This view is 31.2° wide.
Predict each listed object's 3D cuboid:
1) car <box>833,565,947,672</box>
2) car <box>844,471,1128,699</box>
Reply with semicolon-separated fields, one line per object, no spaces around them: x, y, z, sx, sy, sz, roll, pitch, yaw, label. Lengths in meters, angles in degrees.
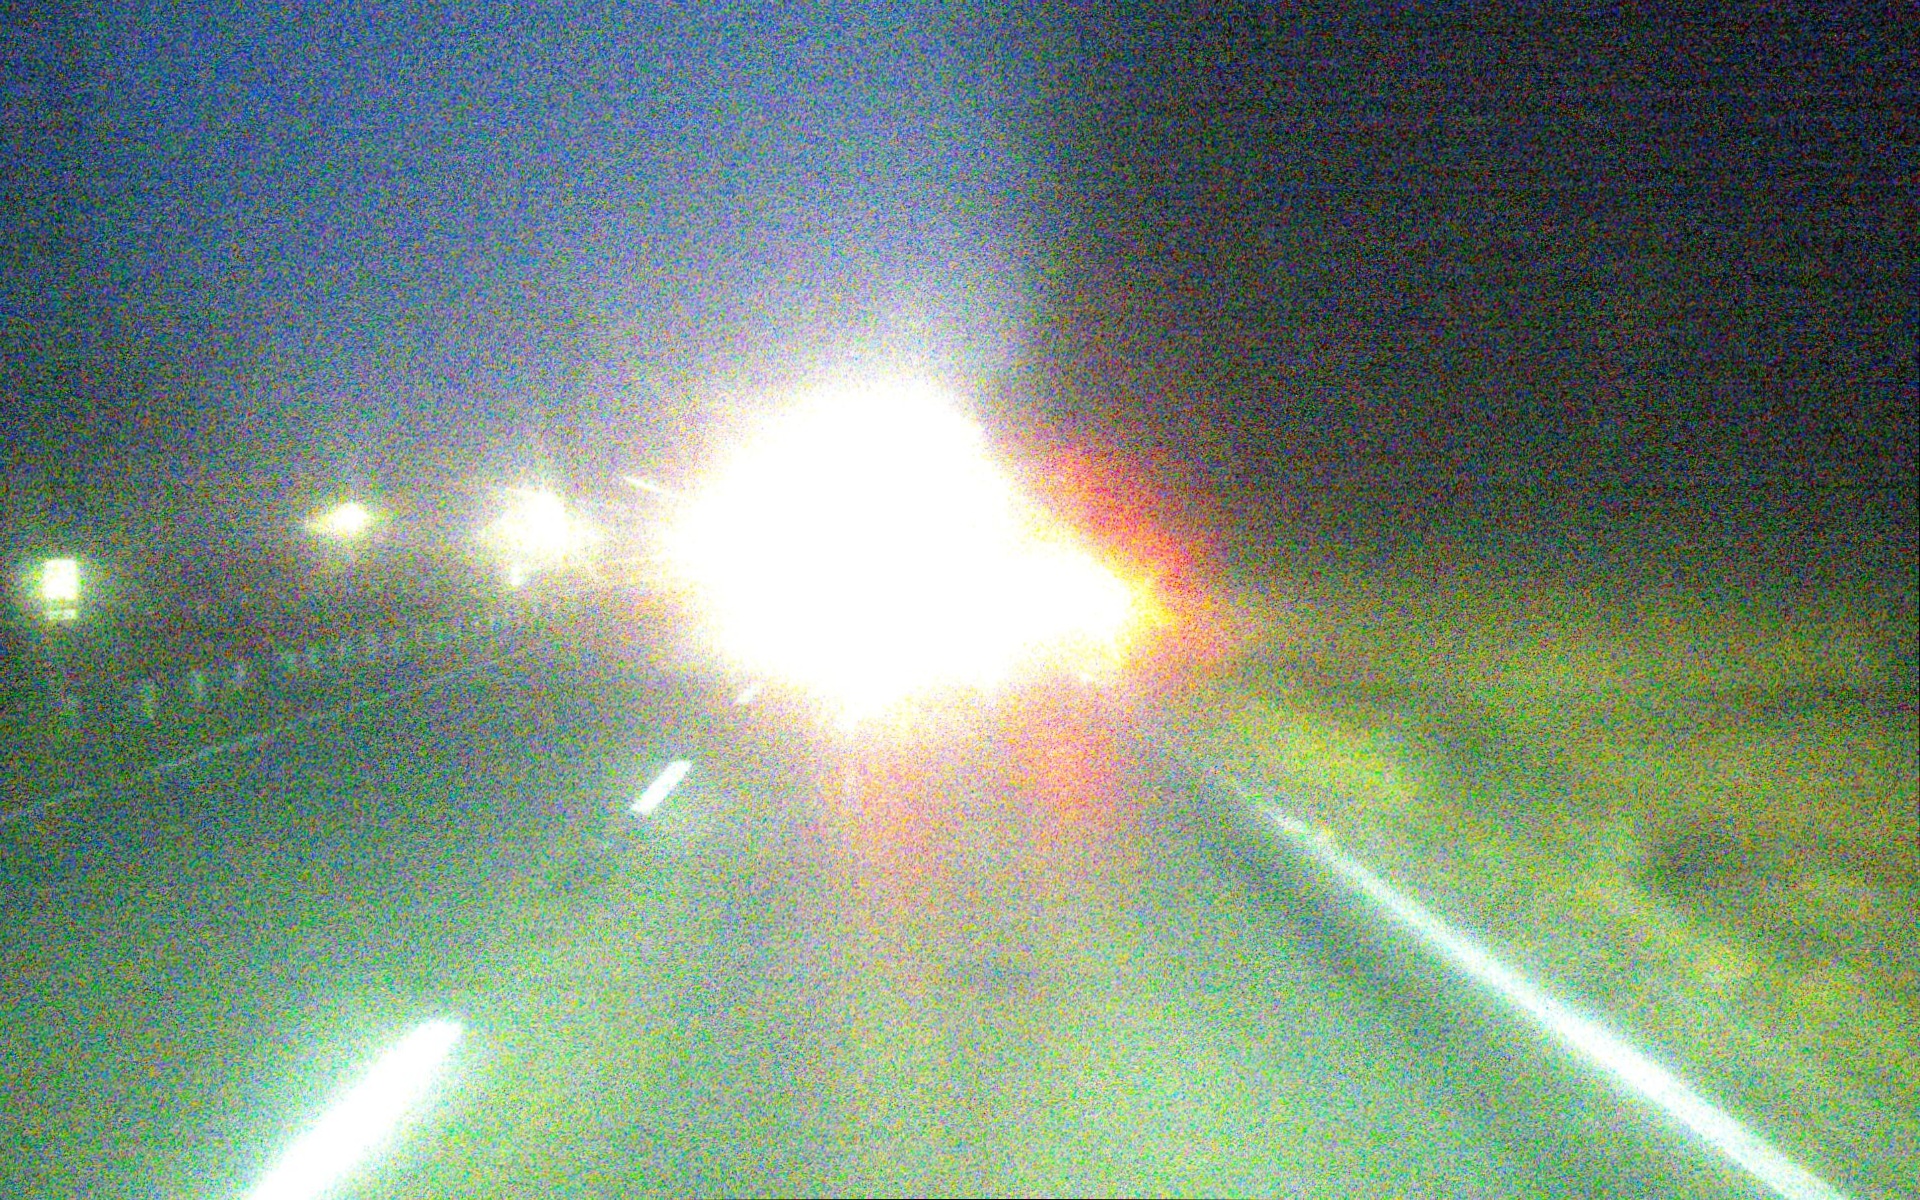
-1.476;0.369;70.770;1.993;2.007;4.000;-4;0;-4;car
0.230;-0.150;32.759;2.458;1.952;4.912;-1;0;0;car
